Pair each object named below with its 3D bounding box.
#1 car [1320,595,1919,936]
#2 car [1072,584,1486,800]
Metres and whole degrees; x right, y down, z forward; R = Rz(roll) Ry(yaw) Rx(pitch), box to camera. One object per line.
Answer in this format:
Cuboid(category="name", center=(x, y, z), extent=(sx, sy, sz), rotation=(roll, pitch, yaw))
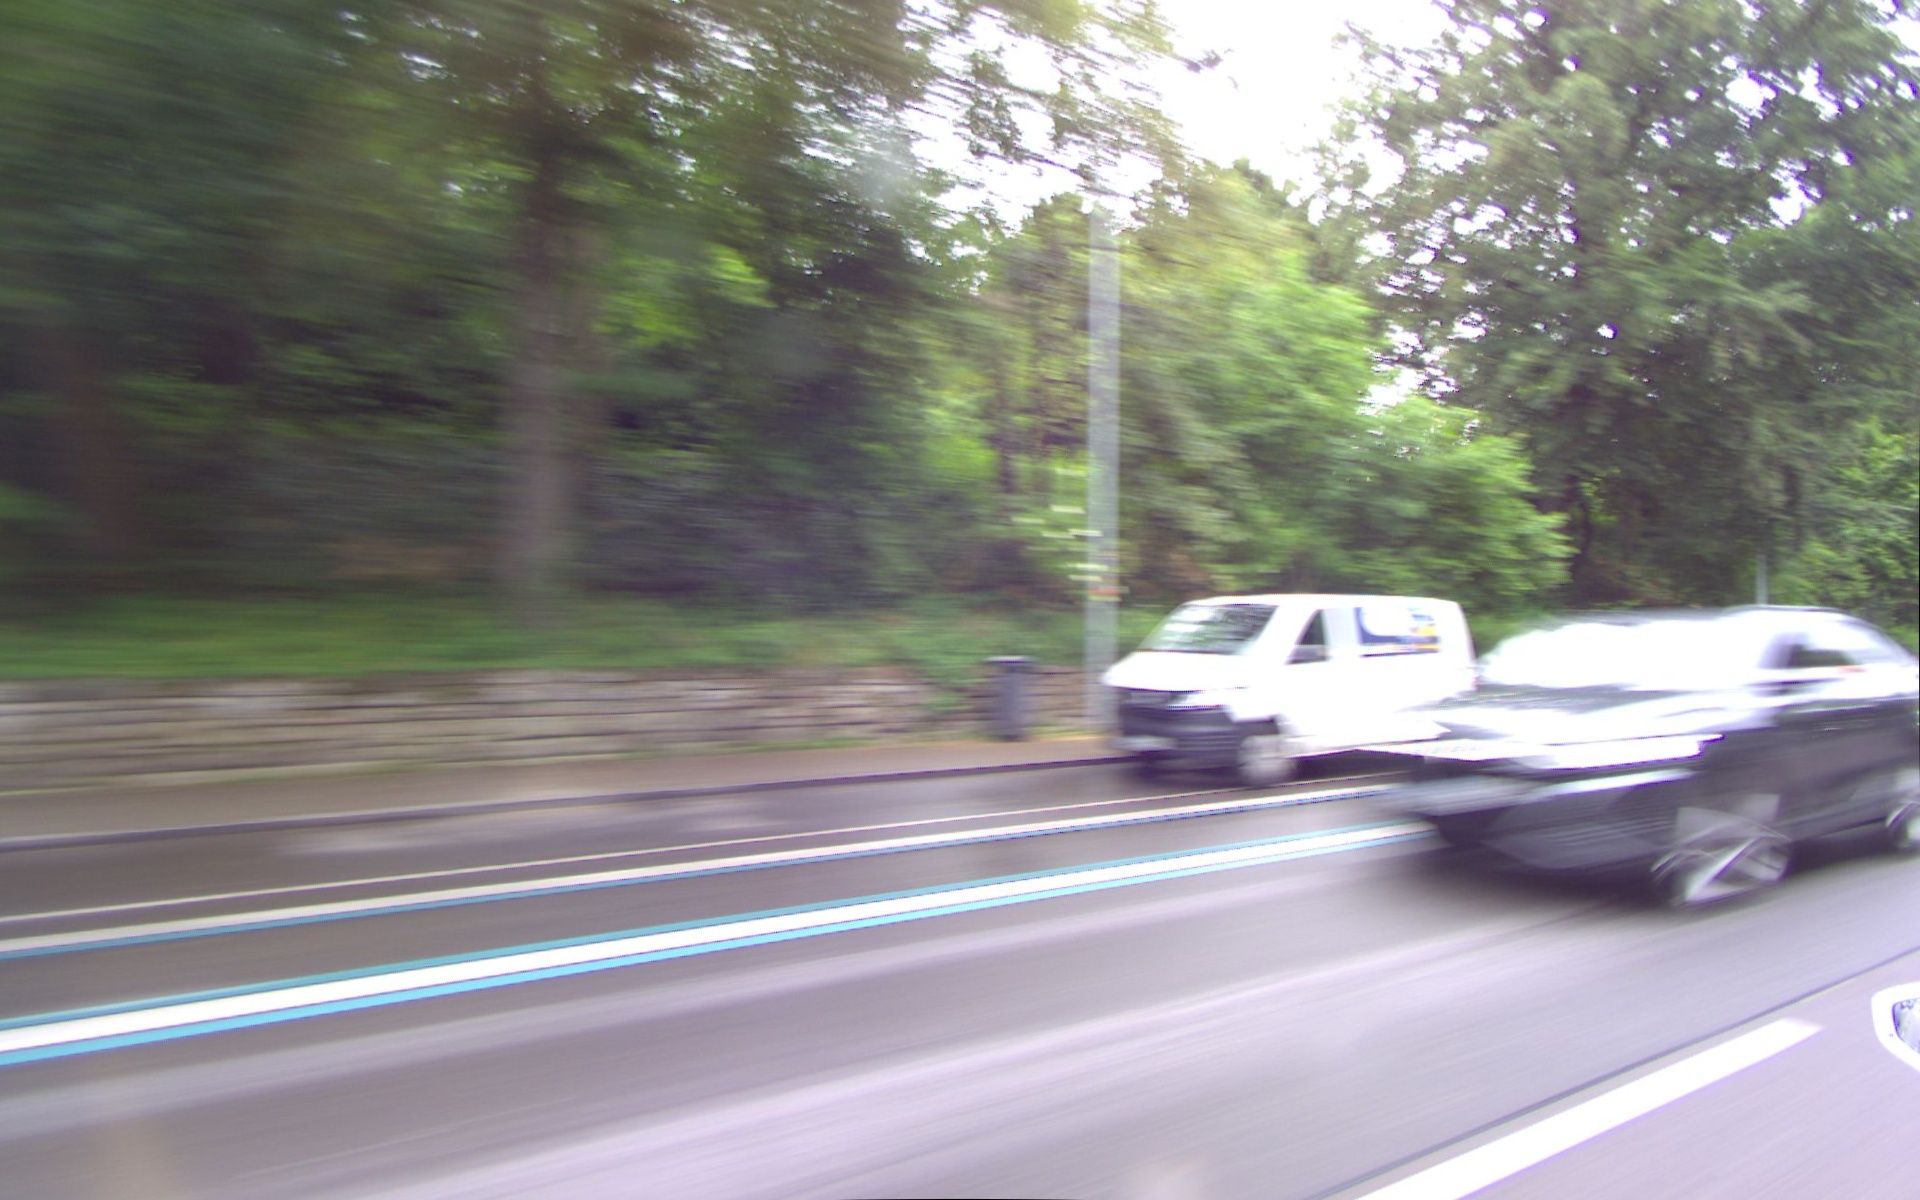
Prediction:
Cuboid(category="car", center=(4.743, 0.884, 6.825), extent=(4.413, 1.638, 1.952), rotation=(1, -3, -30))
Cuboid(category="car", center=(3.822, 0.892, 11.646), extent=(4.967, 2.031, 1.961), rotation=(1, 0, -35))
